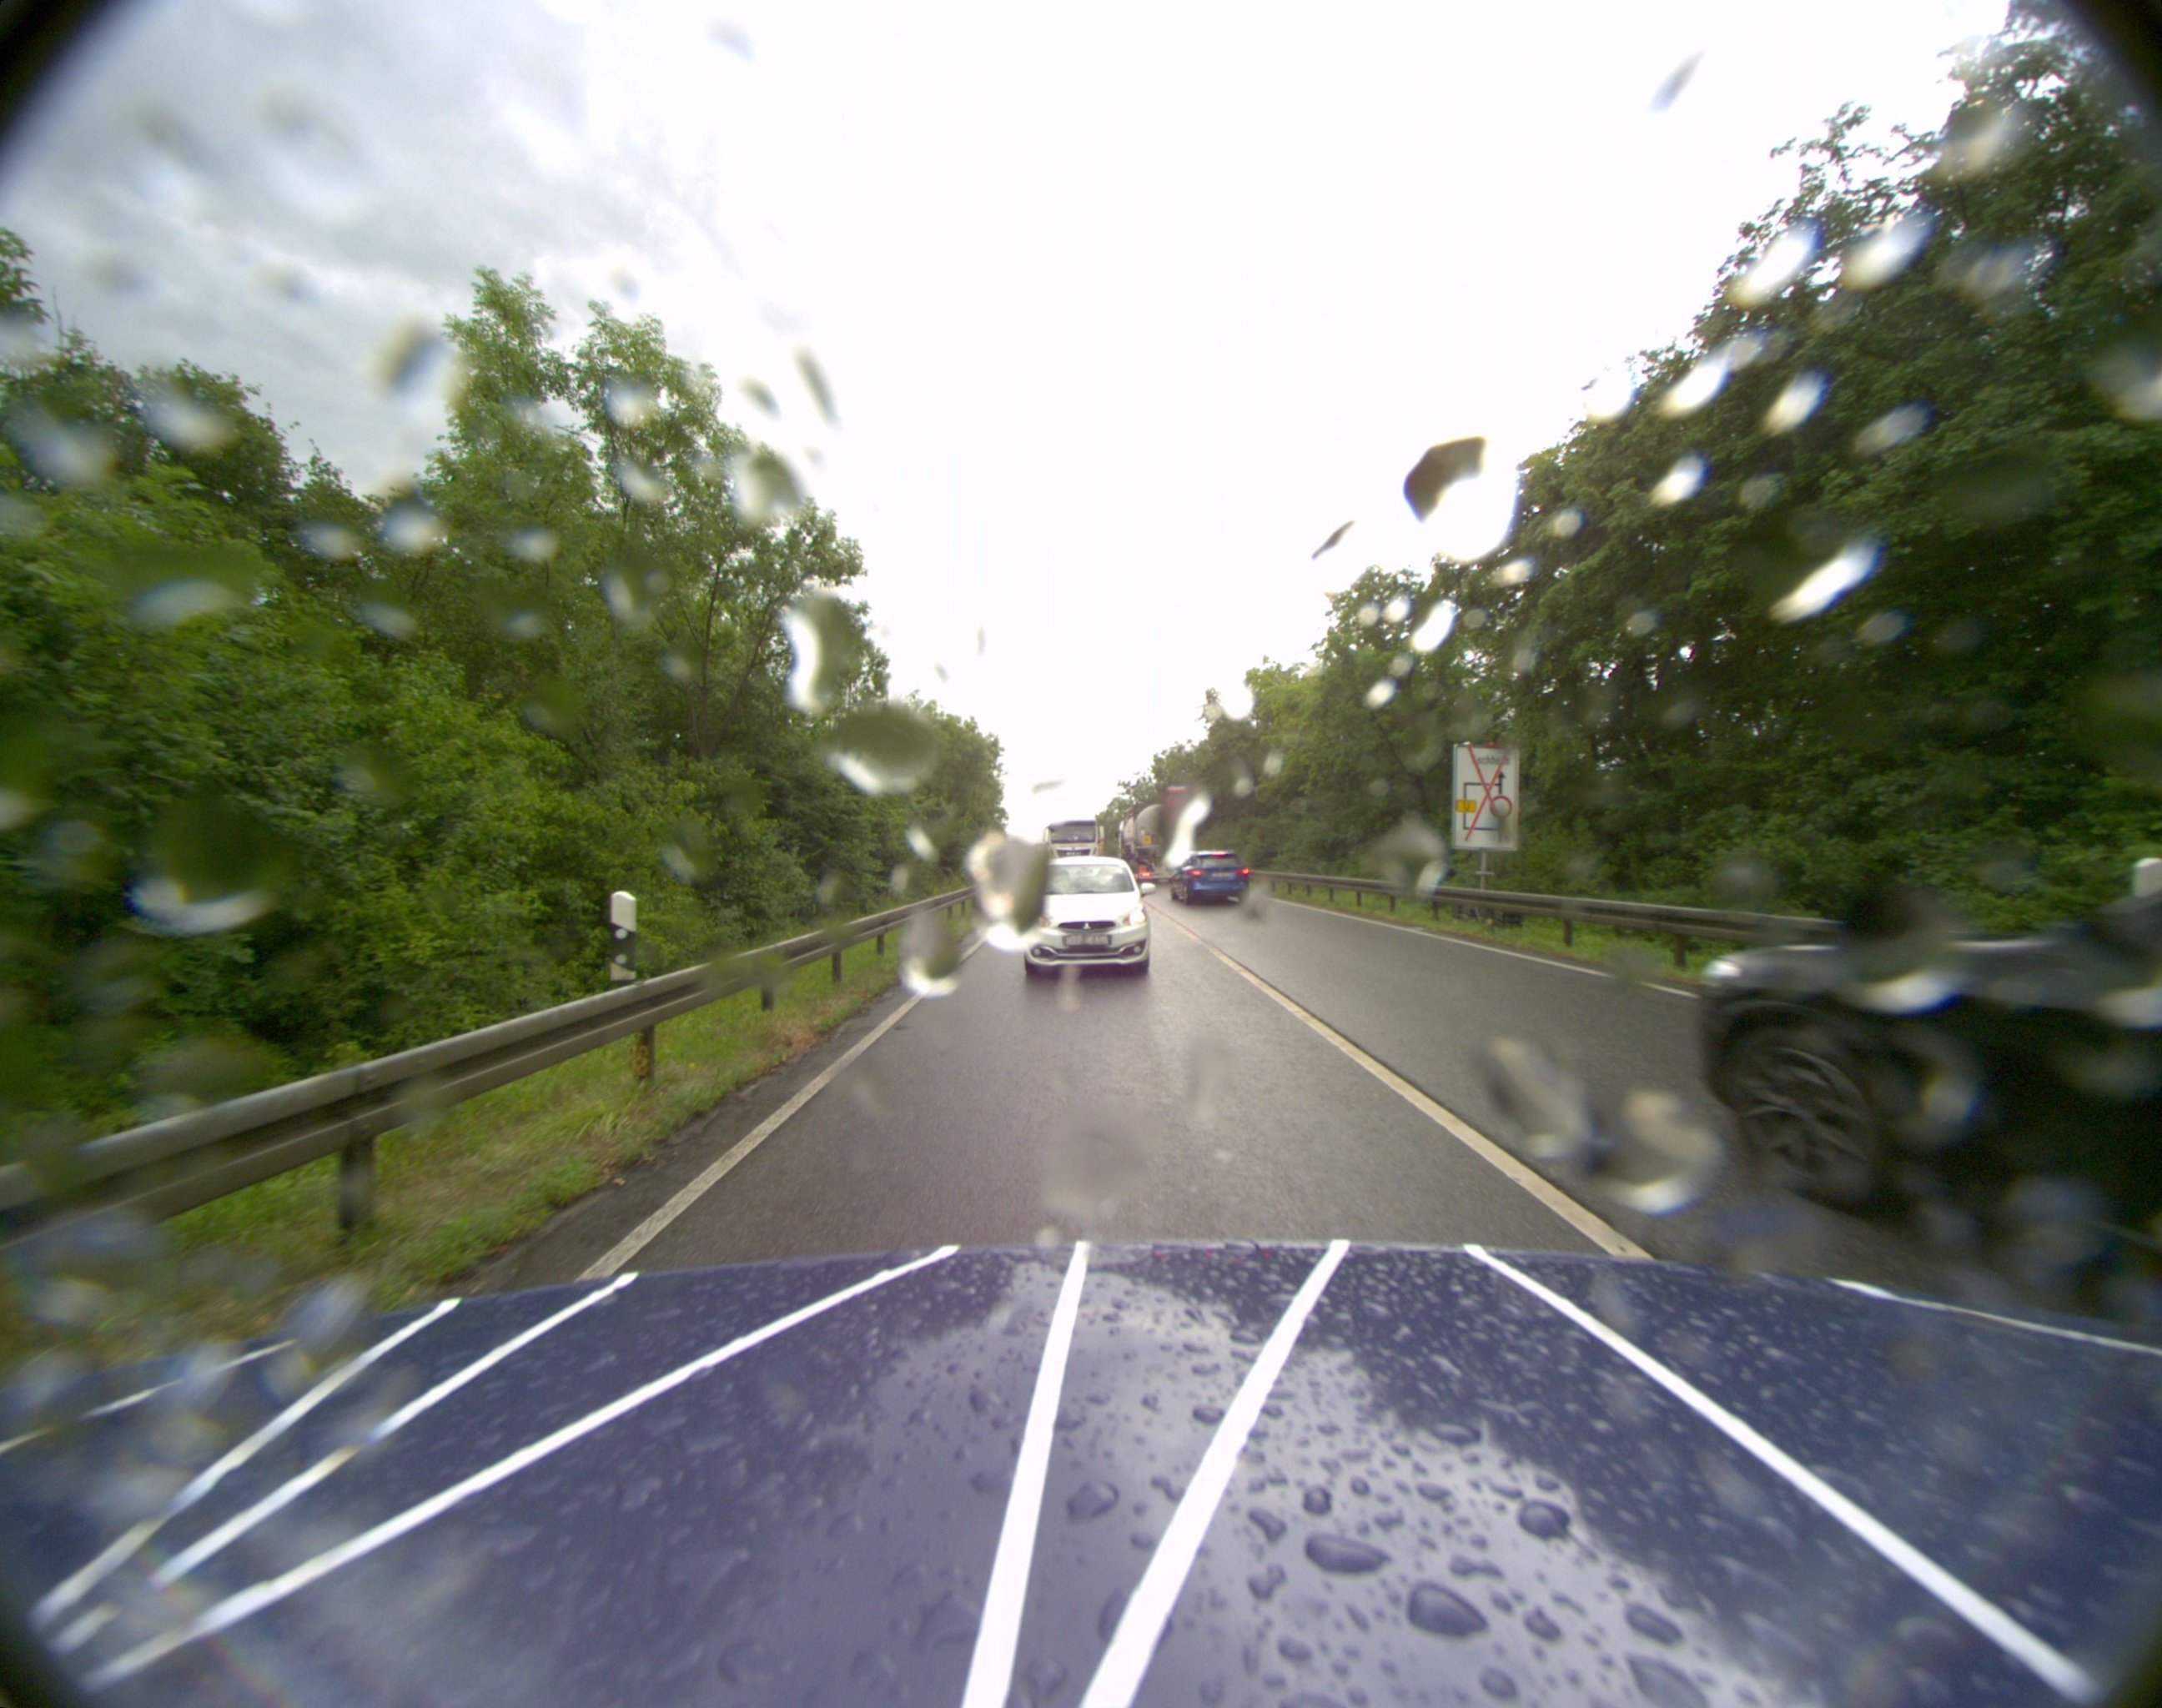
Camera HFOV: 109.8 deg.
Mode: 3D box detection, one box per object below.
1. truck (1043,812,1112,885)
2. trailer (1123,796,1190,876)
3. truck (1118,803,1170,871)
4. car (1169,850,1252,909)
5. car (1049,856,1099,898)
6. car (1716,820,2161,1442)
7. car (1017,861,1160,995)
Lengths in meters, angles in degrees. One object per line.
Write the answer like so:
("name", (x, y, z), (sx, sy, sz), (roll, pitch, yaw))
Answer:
("truck", (-0.385, -0.329, 40.695), (3.137, 3.364, 9.279), (-2, 1, -3))
("trailer", (3.898, -0.940, 40.810), (2.543, 3.803, 7.789), (-2, 1, -1))
("truck", (3.759, -1.023, 46.581), (2.543, 3.803, 5.243), (-2, 1, -1))
("car", (3.762, 0.695, 22.746), (1.712, 1.507, 3.911), (-2, 1, -1))
("car", (-0.192, 0.808, 29.091), (1.640, 1.413, 4.492), (-2, 0, 2))
("car", (3.758, 0.717, 1.239), (1.852, 1.634, 4.298), (-2, 0, 1))
("car", (0.053, 0.883, 10.948), (1.610, 1.435, 4.208), (-2, 1, -1))
